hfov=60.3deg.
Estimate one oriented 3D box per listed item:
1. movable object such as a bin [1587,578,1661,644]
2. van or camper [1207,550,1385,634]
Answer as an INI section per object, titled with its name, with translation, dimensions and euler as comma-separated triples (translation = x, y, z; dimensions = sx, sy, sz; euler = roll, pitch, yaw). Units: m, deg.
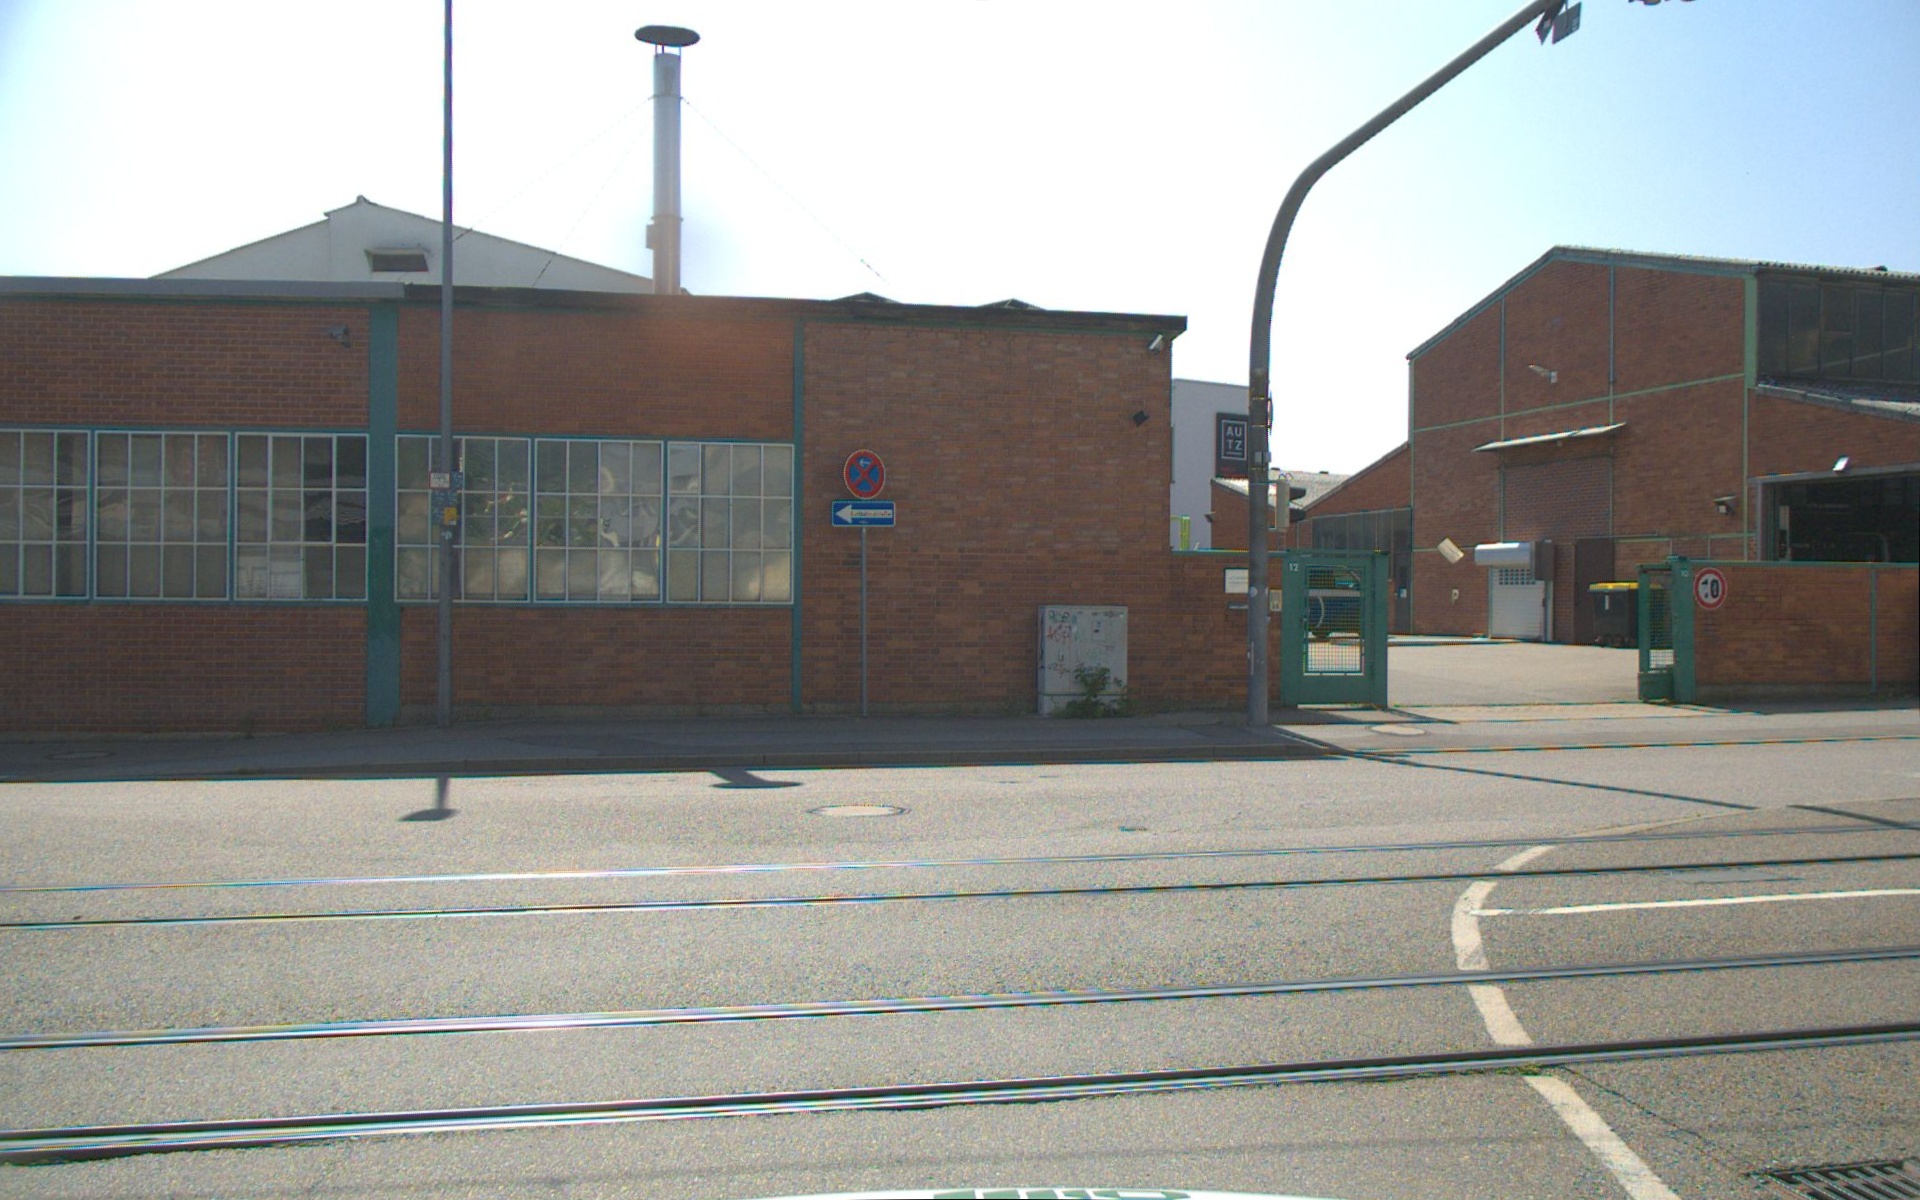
[movable object such as a bin]
translation = 13.935, 0.224, 34.734
dimensions = 0.958, 1.337, 1.147
euler = -1, 0, -16
[van or camper]
translation = 8.619, -0.177, 42.295
dimensions = 4.370, 1.933, 1.975
euler = 2, -1, -35
